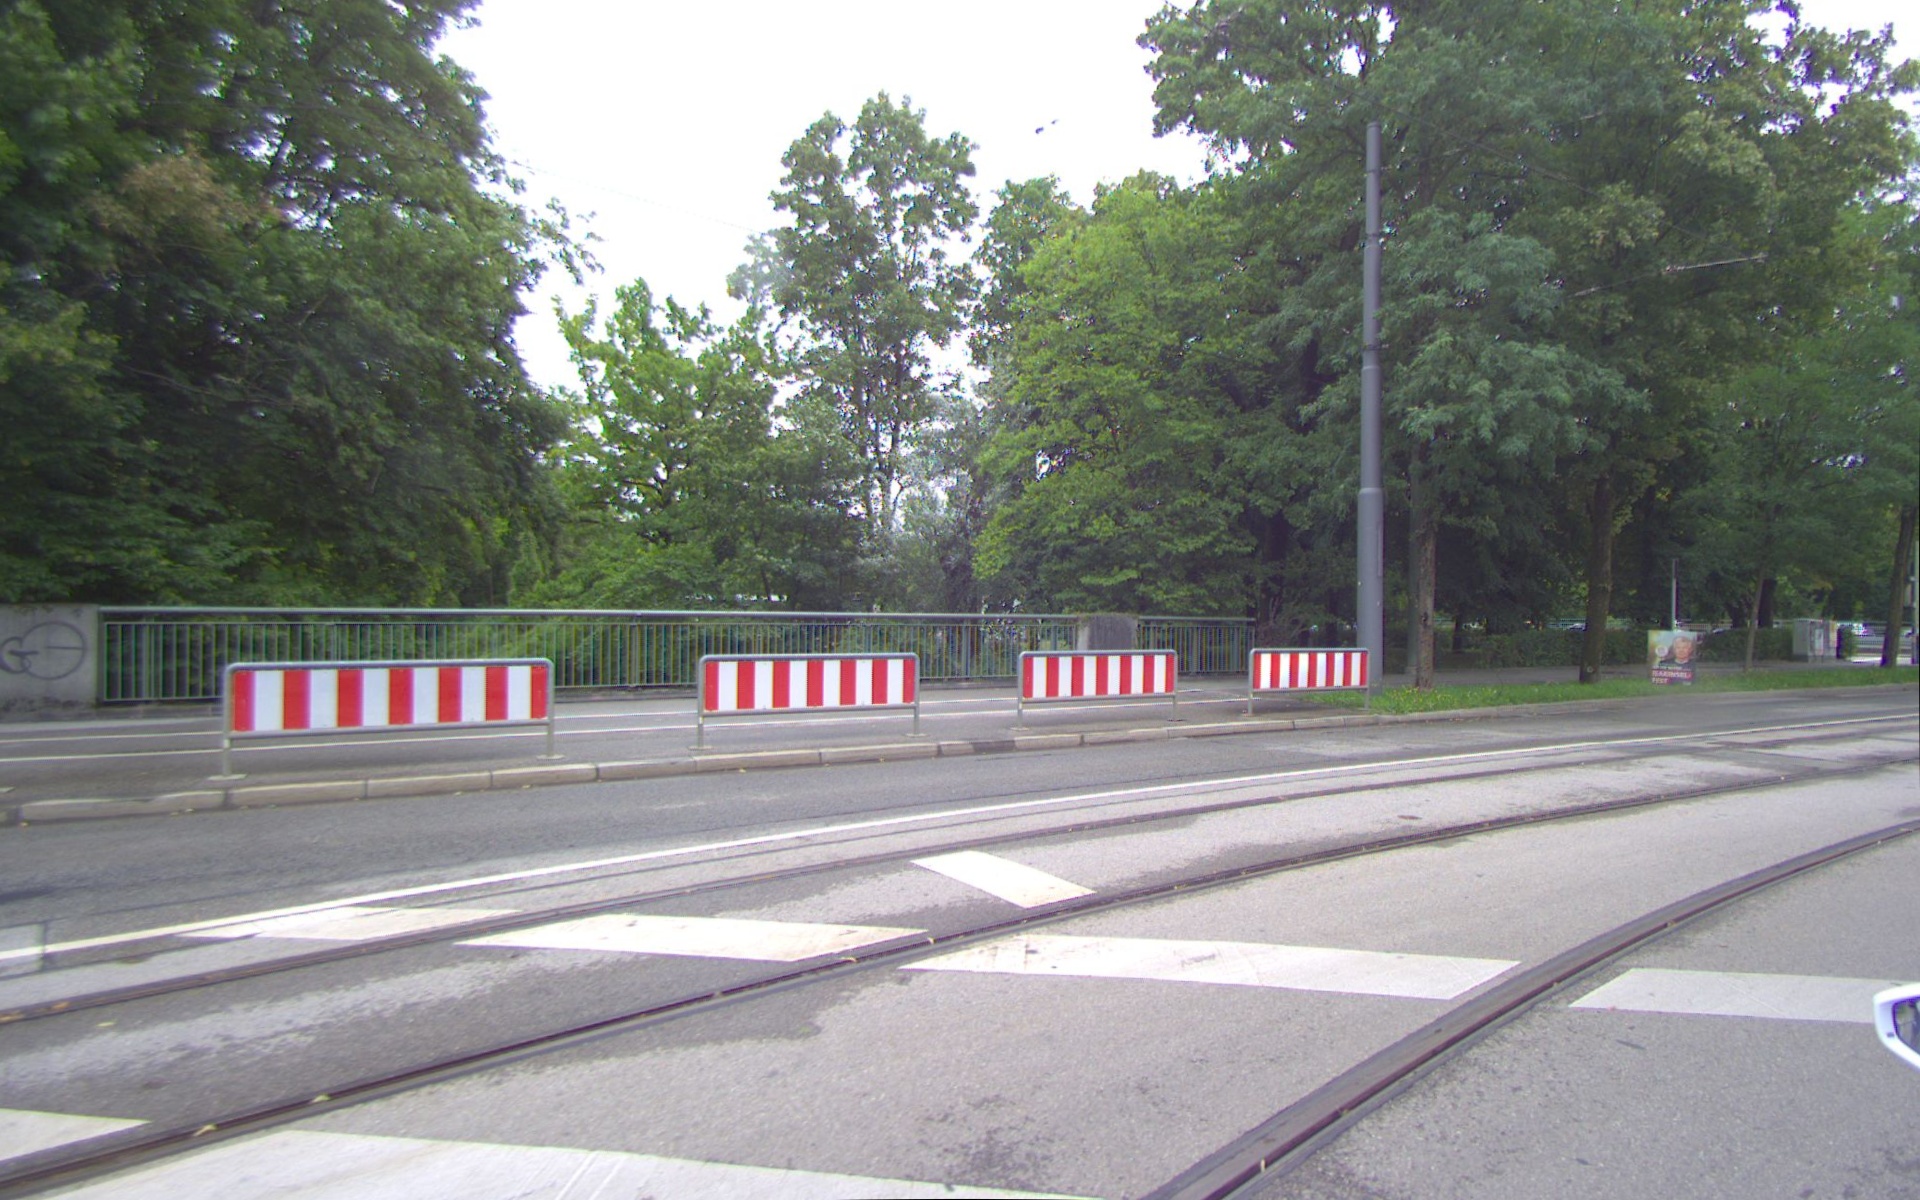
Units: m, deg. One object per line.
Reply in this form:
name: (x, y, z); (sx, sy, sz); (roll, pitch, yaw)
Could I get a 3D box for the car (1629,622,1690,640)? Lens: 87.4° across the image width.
car: (54.225, 2.365, 77.928); (1.237, 1.201, 3.705); (2, 1, -33)

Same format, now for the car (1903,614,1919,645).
car: (62.730, 1.952, 63.700); (1.476, 1.912, 3.996); (1, 1, -35)

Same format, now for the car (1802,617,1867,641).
car: (59.795, 1.947, 68.735); (1.237, 1.471, 3.091); (2, 1, -33)
